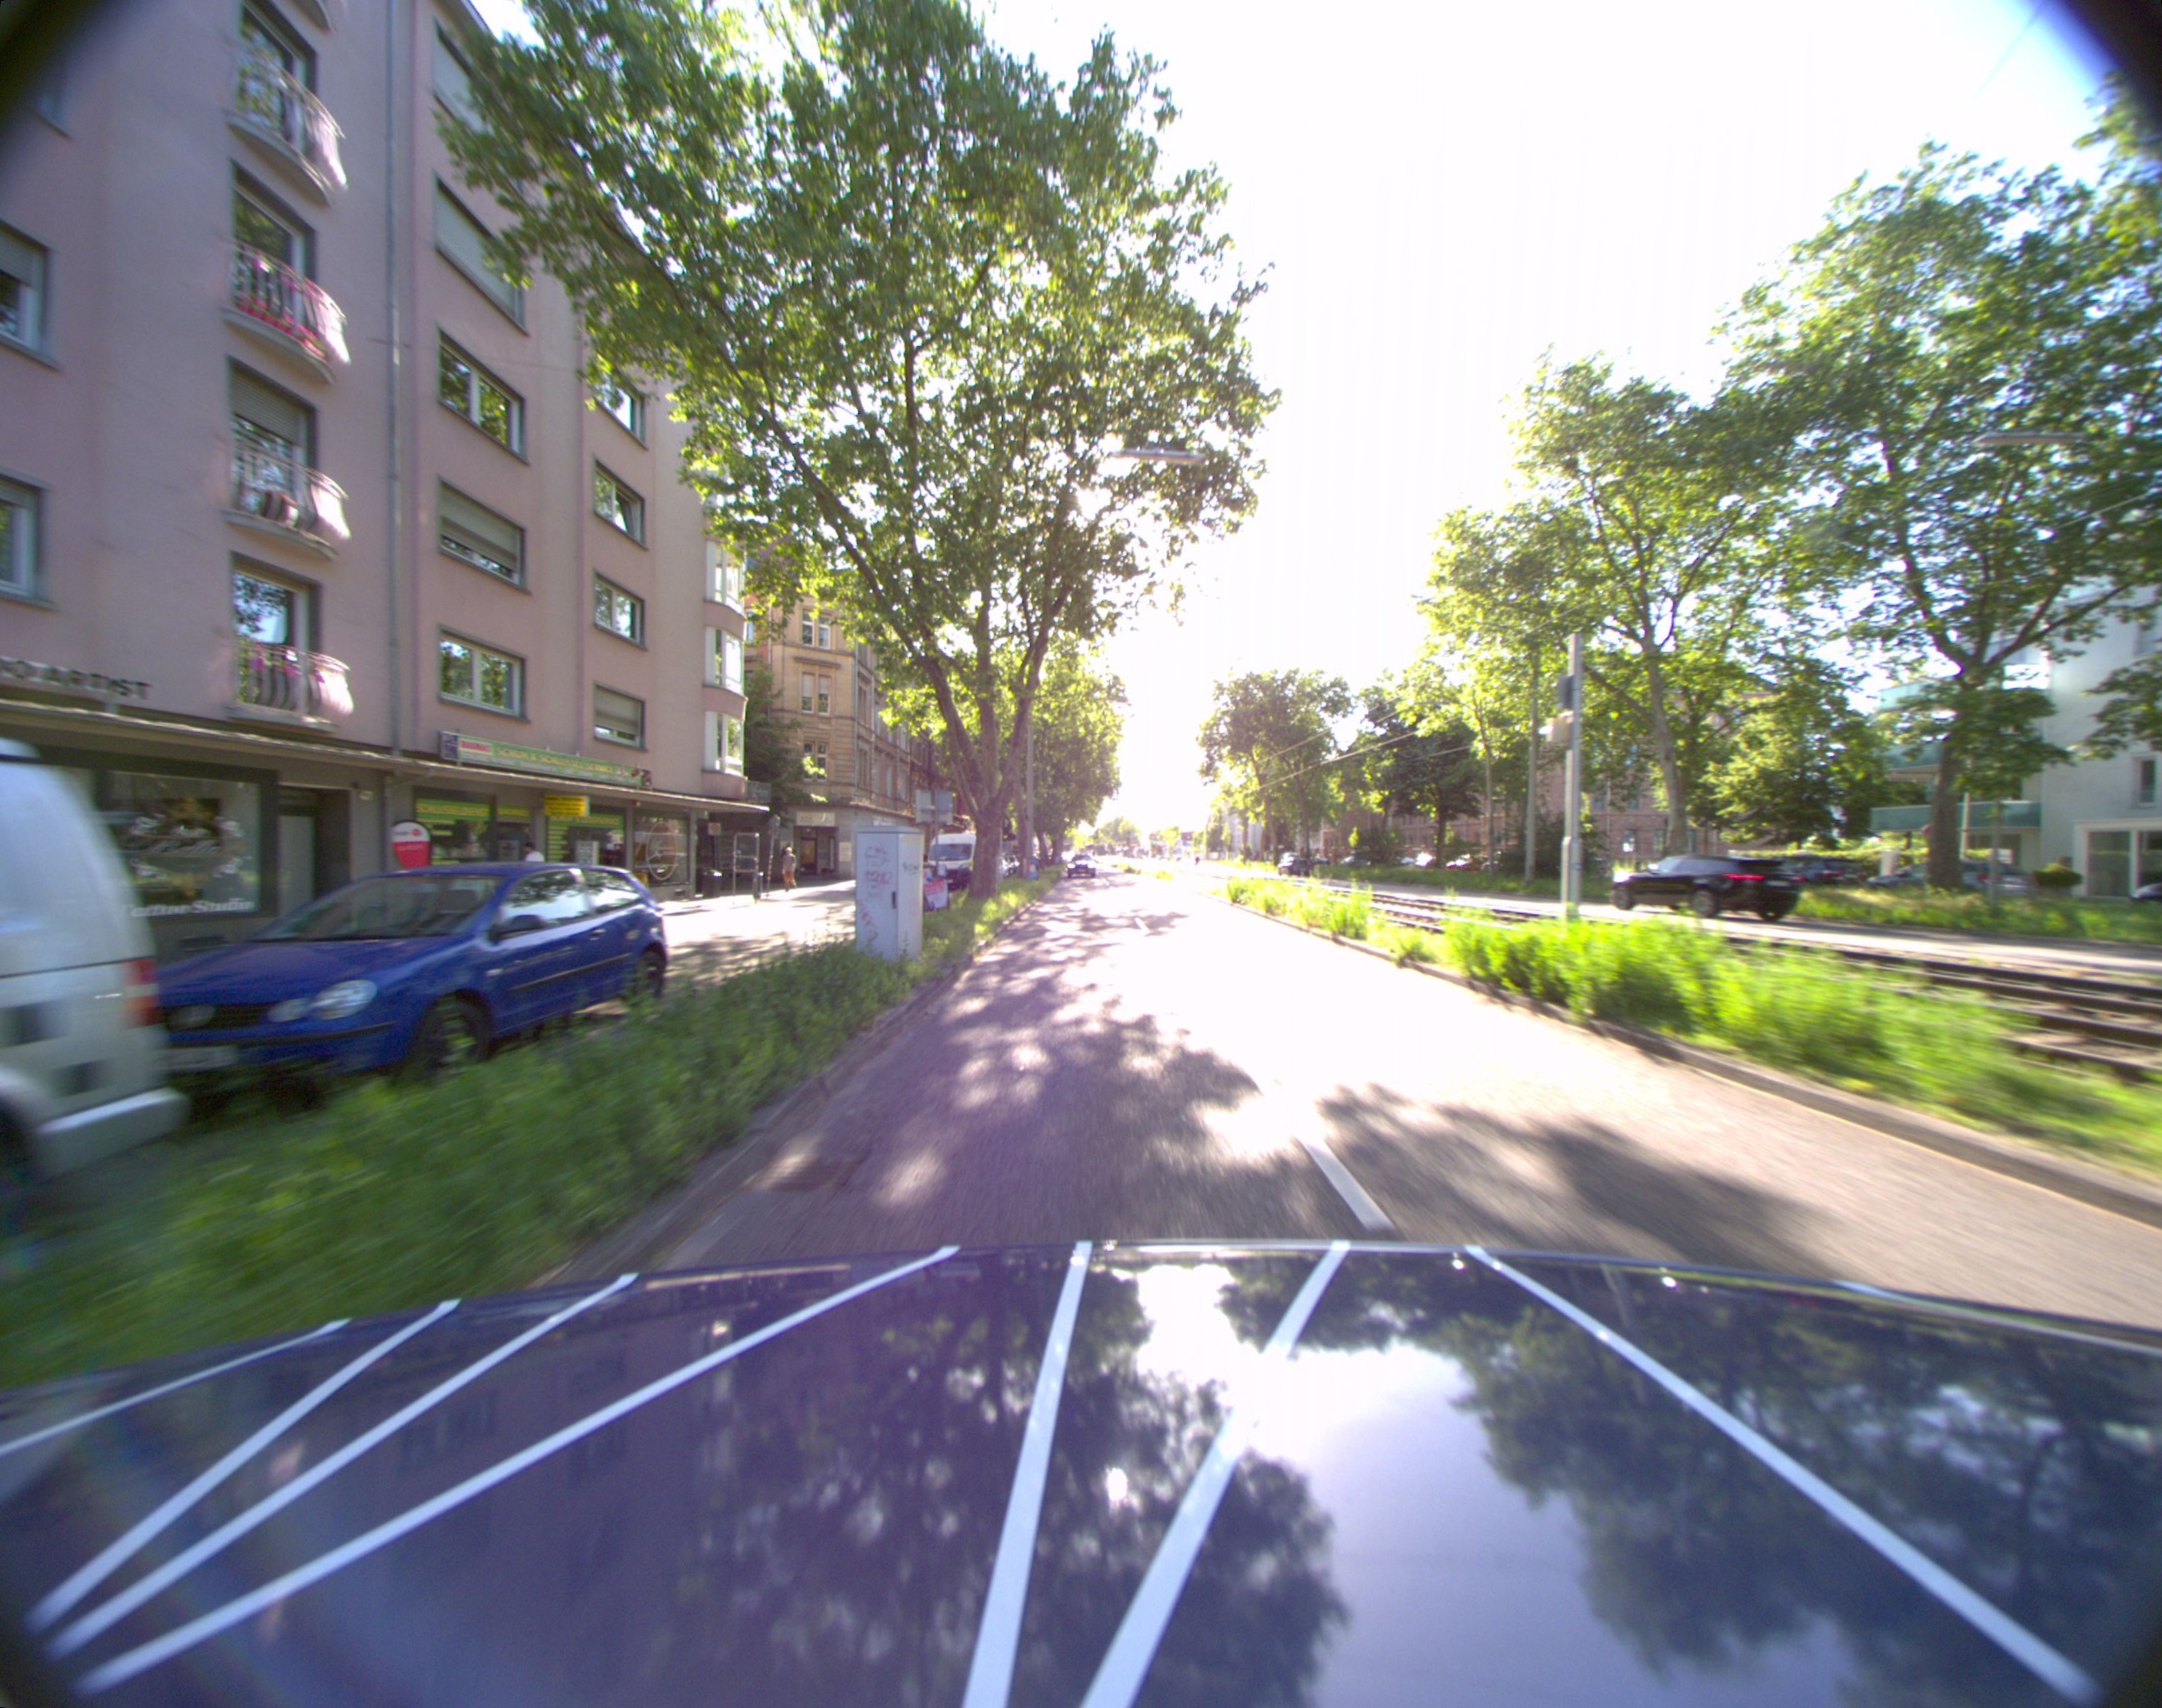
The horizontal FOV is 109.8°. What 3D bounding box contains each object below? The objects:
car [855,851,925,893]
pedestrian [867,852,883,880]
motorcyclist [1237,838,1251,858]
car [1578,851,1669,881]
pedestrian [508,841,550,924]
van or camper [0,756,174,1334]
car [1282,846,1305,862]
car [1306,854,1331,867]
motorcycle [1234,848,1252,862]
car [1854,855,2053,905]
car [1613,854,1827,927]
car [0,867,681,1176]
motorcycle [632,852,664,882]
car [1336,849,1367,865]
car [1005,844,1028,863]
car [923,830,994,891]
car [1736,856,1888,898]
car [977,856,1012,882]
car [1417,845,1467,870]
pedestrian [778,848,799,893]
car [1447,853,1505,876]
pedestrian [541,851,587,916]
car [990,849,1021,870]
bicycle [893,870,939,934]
[{"bbox_3d":[-7.833,0.693,31.538,1.815,1.592,4.136,0,0,0],"label":"car"},{"bbox_3d":[-11.419,0.654,42.133,0.738,1.557,0.730,0,1,0],"label":"pedestrian"},{"bbox_3d":[24.144,-0.906,112.375,1.747,2.905,1.680,0,1,1],"label":"motorcyclist"},{"bbox_3d":[28.804,0.592,40.494,1.998,1.477,4.000,0,0,1],"label":"car"},{"bbox_3d":[-11.997,0.611,16.518,0.418,1.744,0.581,3,1,1],"label":"pedestrian"},{"bbox_3d":[-4.670,0.676,0.565,1.889,2.002,5.094,0,0,-1],"label":"van or camper"},{"bbox_3d":[26.865,-0.053,96.257,1.998,2.002,4.001,0,1,4],"label":"car"},{"bbox_3d":[26.667,0.735,85.385,1.771,1.477,3.688,0,0,1],"label":"car"},{"bbox_3d":[24.092,0.081,112.765,1.729,2.045,3.999,0,0,-1],"label":"motorcycle"},{"bbox_3d":[27.773,0.766,24.404,1.801,1.464,4.000,0,0,0],"label":"car"},{"bbox_3d":[16.799,0.877,20.343,1.862,1.638,4.459,2,1,-1],"label":"car"},{"bbox_3d":[-4.808,0.880,5.764,1.594,1.471,3.828,0,0,-1],"label":"car"},{"bbox_3d":[-21.554,0.610,37.855,0.969,1.393,3.194,0,1,-22],"label":"motorcycle"},{"bbox_3d":[26.647,0.269,74.894,1.771,1.477,3.688,0,1,1],"label":"car"},{"bbox_3d":[-5.997,-0.067,71.097,1.714,1.733,3.927,-1,1,1],"label":"car"},{"bbox_3d":[-5.296,0.246,33.727,2.079,2.420,5.855,-1,0,1],"label":"car"},{"bbox_3d":[27.846,0.814,29.136,1.998,1.477,4.000,0,0,1],"label":"car"},{"bbox_3d":[-5.348,0.901,47.517,1.649,1.503,4.189,-1,0,1],"label":"car"},{"bbox_3d":[27.897,0.240,58.816,1.998,1.838,4.000,0,1,1],"label":"car"},{"bbox_3d":[-11.937,0.657,31.002,0.615,1.805,0.630,0,1,-3],"label":"pedestrian"},{"bbox_3d":[27.455,0.702,53.017,1.998,1.477,4.000,0,0,1],"label":"car"},{"bbox_3d":[-11.812,0.665,17.371,0.698,1.462,0.516,0,1,-1],"label":"pedestrian"},{"bbox_3d":[-5.327,0.362,53.898,1.752,1.455,3.999,0,1,0],"label":"car"},{"bbox_3d":[-3.405,0.959,15.792,0.466,1.207,1.751,0,0,4],"label":"bicycle"}]
